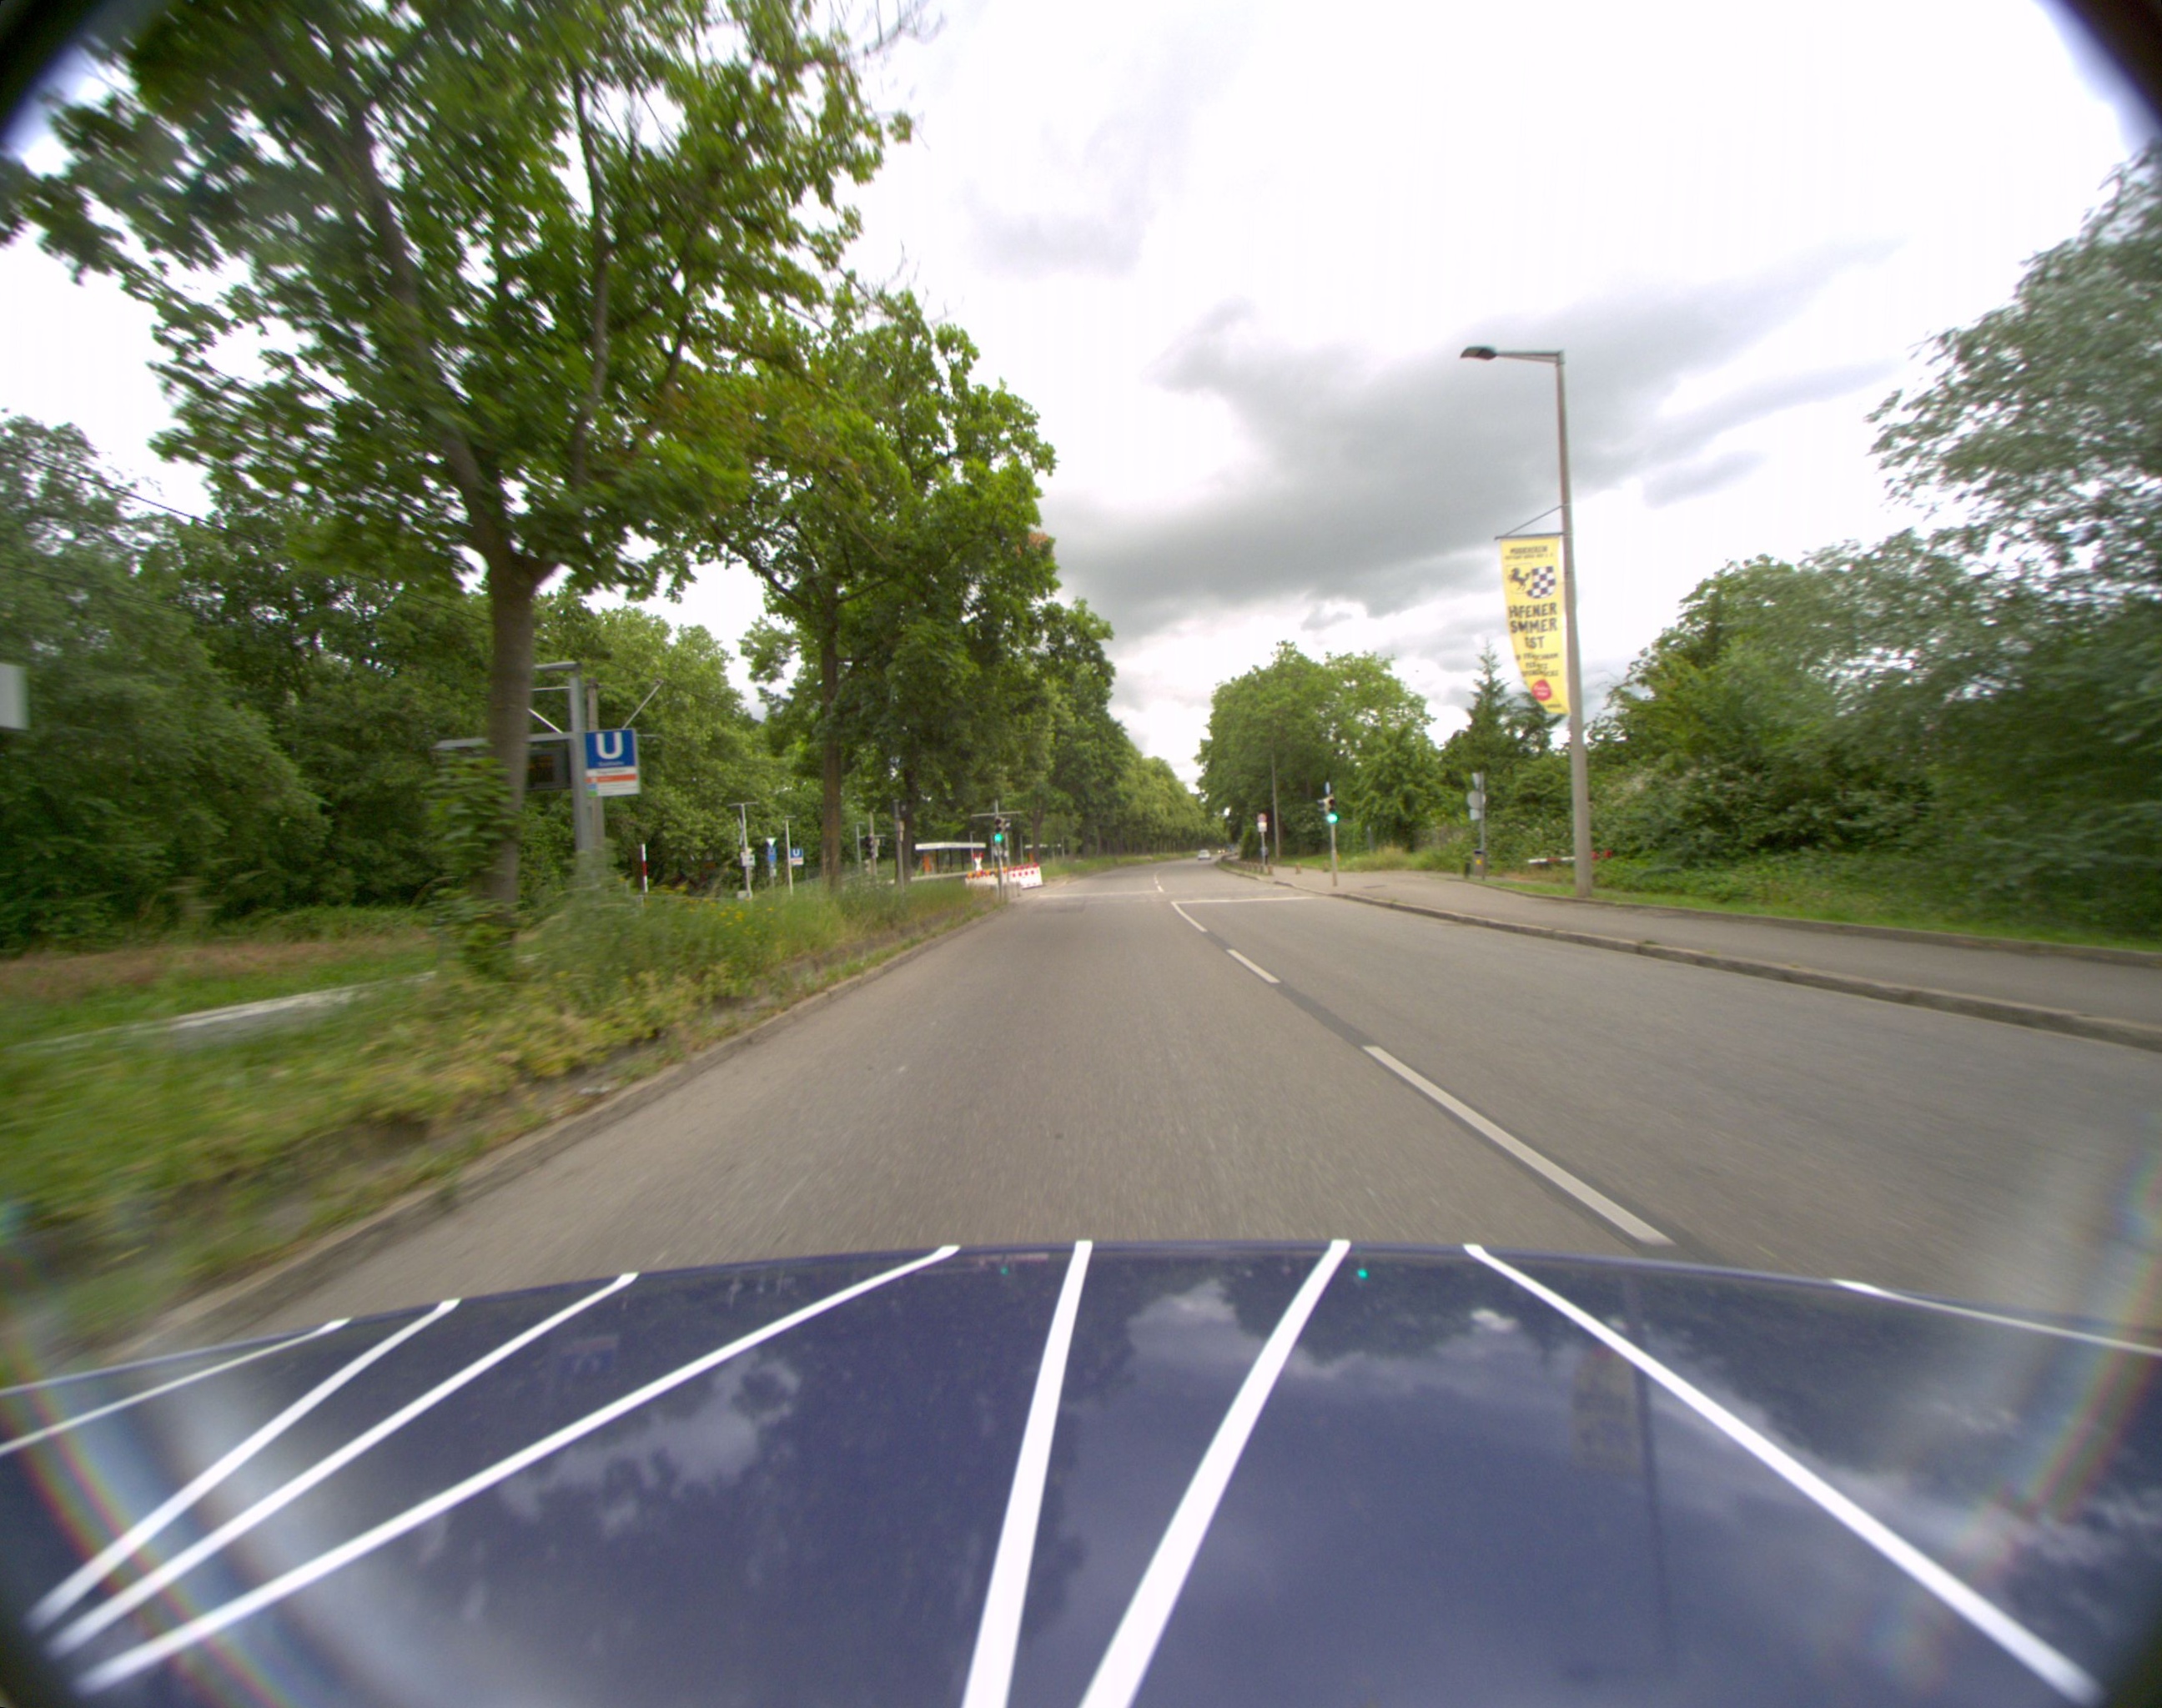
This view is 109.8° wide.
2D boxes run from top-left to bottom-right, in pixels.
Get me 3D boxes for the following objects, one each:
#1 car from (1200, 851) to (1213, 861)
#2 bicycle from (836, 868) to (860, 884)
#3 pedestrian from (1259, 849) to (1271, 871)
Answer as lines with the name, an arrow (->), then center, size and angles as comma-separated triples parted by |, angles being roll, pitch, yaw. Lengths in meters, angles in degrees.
car -> 19.237, 0.263, 116.635 | 1.776, 1.431, 4.363 | -2, 0, 6
bicycle -> -16.392, 1.525, 53.437 | 1.512, 0.968, 0.450 | -5, 0, 5
pedestrian -> 14.011, 0.481, 57.883 | 0.691, 1.624, 0.838 | -5, 0, 8
